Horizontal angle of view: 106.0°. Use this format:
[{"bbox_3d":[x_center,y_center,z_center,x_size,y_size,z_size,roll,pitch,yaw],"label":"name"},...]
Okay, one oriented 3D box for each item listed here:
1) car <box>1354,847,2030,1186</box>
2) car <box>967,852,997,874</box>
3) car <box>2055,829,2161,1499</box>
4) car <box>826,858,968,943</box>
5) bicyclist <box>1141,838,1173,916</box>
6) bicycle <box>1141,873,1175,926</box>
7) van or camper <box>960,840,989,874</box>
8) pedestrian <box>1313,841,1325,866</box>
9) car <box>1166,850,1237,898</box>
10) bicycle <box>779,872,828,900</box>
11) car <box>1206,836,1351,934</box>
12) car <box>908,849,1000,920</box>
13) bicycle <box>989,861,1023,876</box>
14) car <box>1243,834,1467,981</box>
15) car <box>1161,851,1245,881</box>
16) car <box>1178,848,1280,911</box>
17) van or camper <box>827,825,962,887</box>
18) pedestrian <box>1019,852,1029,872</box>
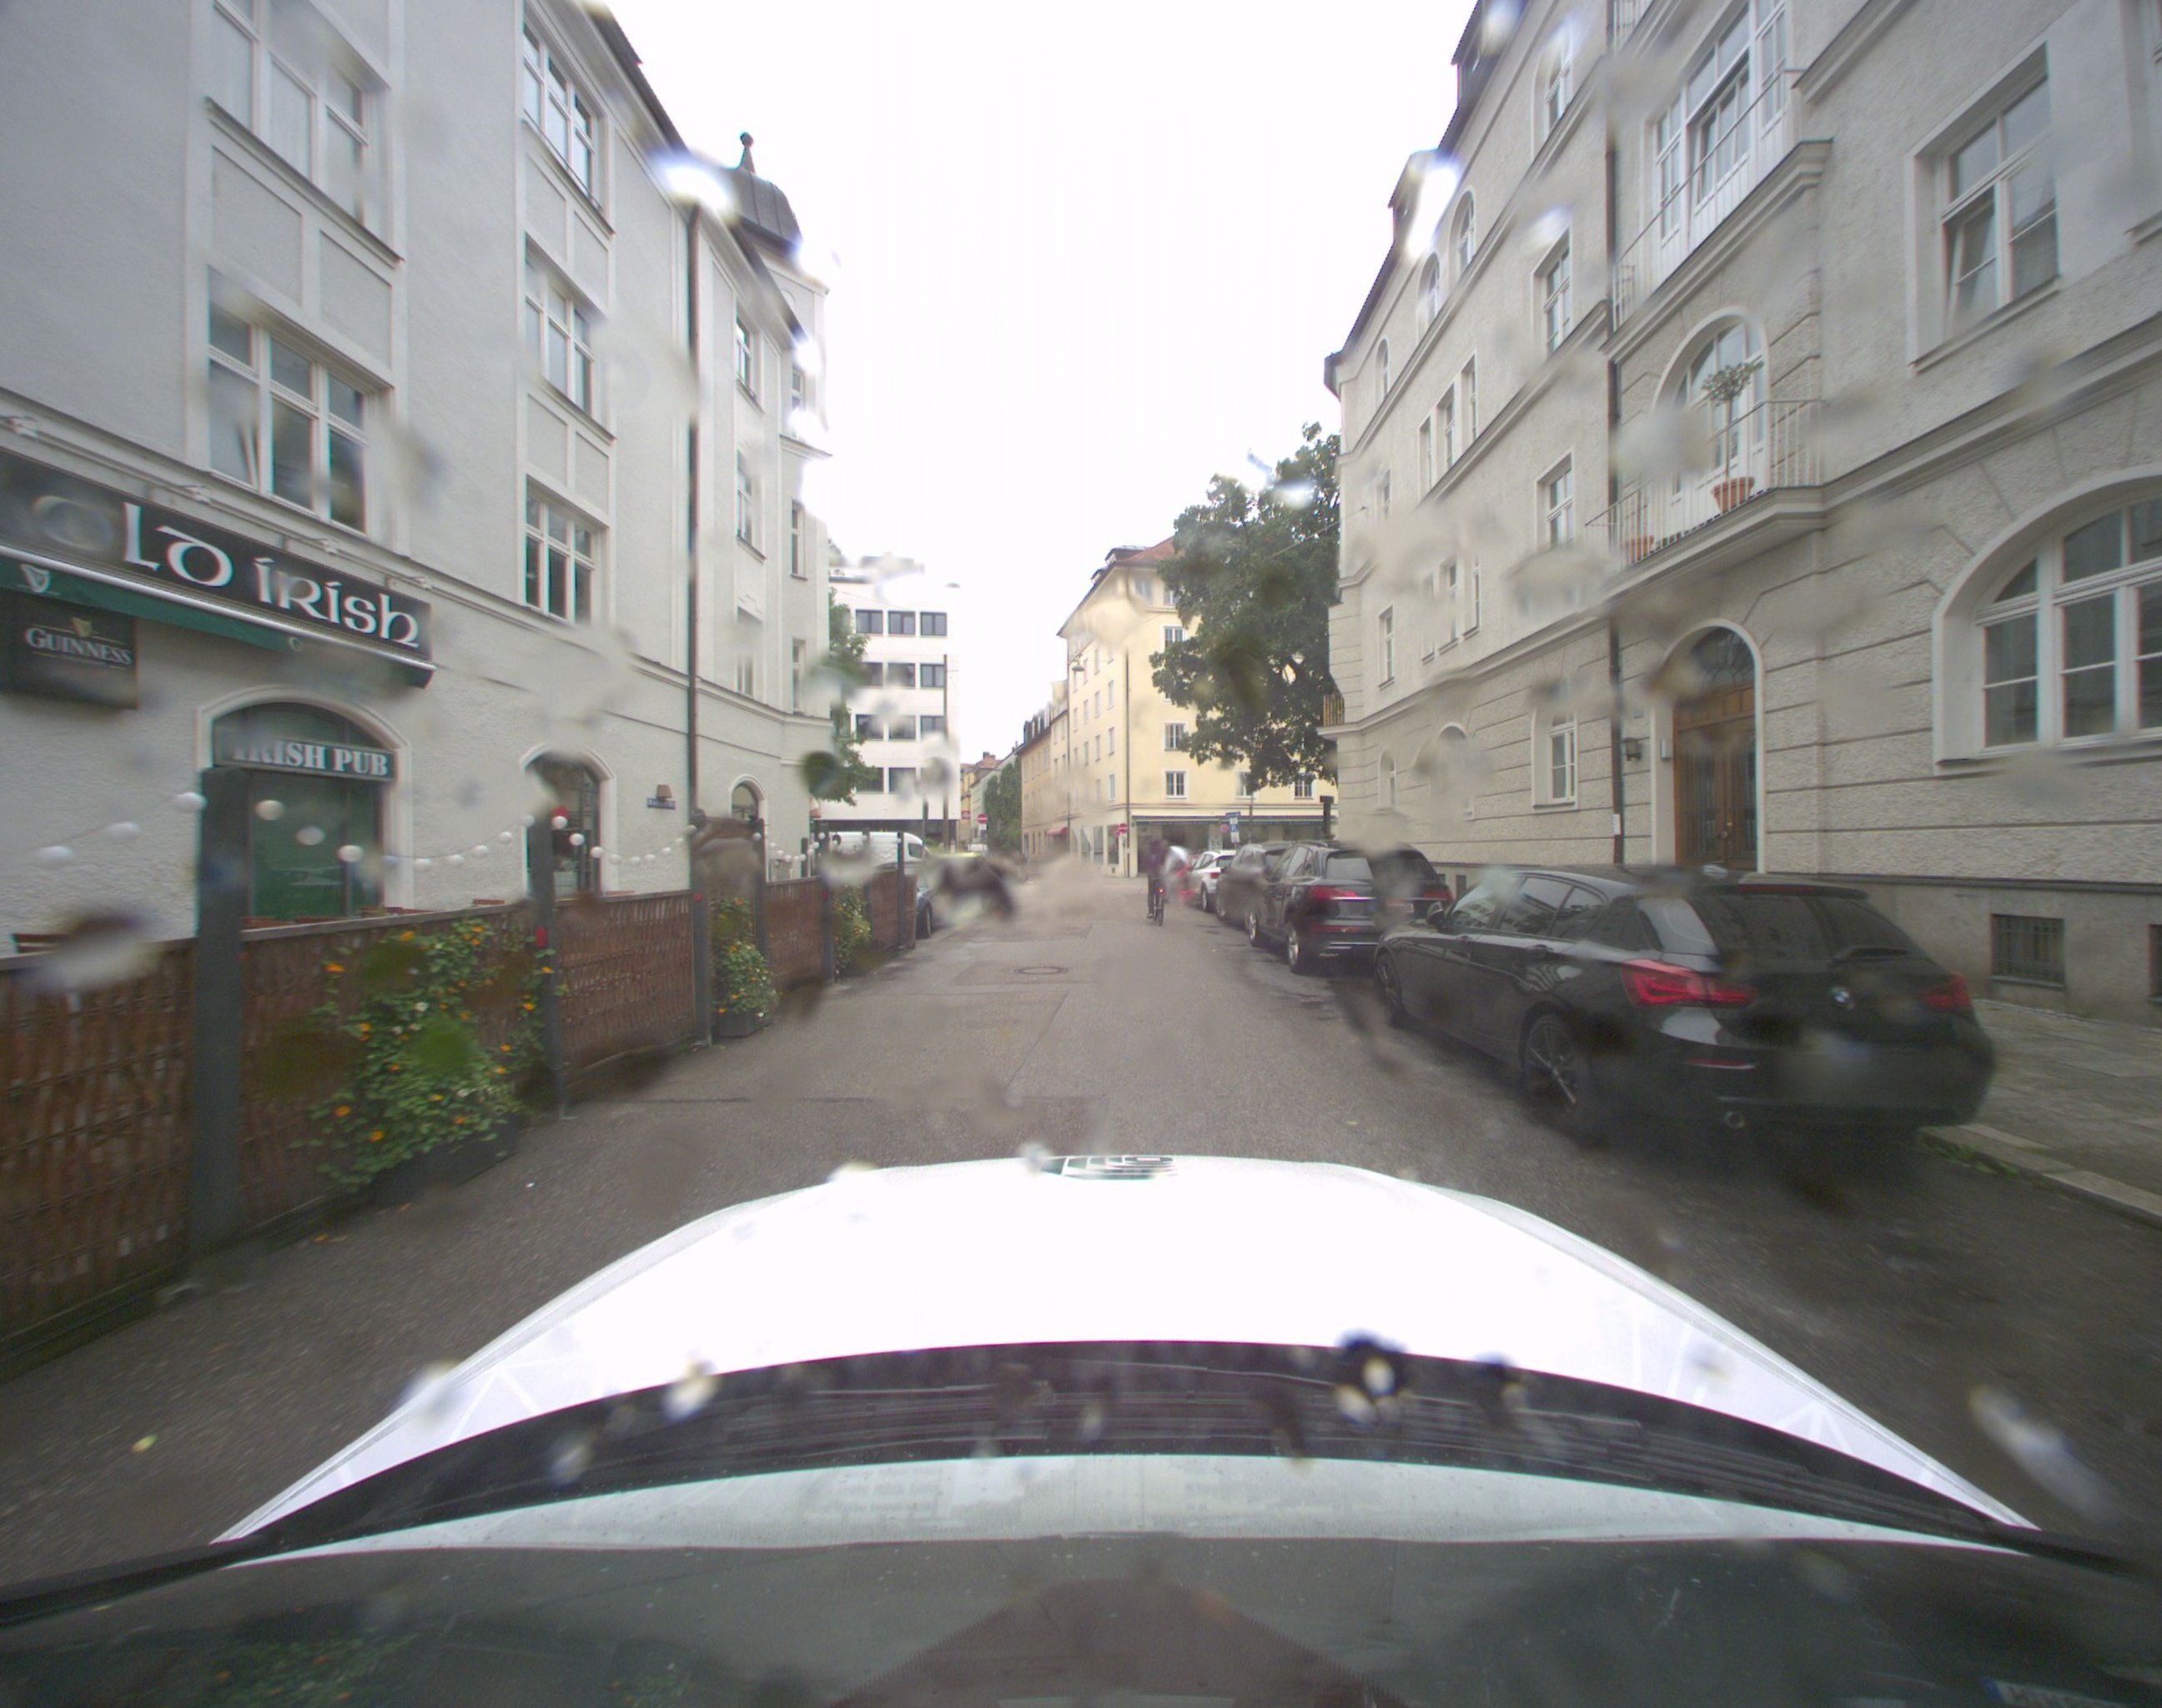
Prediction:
[{"bbox_3d":[3.381,0.700,5.680,1.700,1.471,4.204,-1,1,2],"label":"car"},{"bbox_3d":[-7.279,0.621,59.518,1.834,1.535,3.983,-1,0,-12],"label":"car"},{"bbox_3d":[3.297,0.721,0.257,1.650,1.525,3.636,0,1,-1],"label":"car"},{"bbox_3d":[-3.538,0.835,16.418,1.700,1.390,4.003,-3,0,3],"label":"car"},{"bbox_3d":[1.593,0.465,17.132,0.603,1.606,0.758,-1,1,3],"label":"bicyclist"},{"bbox_3d":[1.594,0.918,17.053,0.636,1.004,1.575,-1,0,3],"label":"bicycle"},{"bbox_3d":[-8.629,0.217,65.415,1.994,2.540,4.742,-1,0,-11],"label":"van or camper"},{"bbox_3d":[14.488,-0.030,49.515,0.435,1.551,0.530,-1,0,-28],"label":"pedestrian"},{"bbox_3d":[3.893,0.610,26.876,1.664,1.435,4.212,0,0,-1],"label":"car"},{"bbox_3d":[-9.930,1.139,29.123,1.567,0.947,0.891,0,-2,-27],"label":"bicycle"},{"bbox_3d":[3.841,0.535,16.661,1.784,1.713,4.424,-1,0,-1],"label":"car"},{"bbox_3d":[-3.241,0.728,21.436,1.671,1.597,3.945,-3,0,1],"label":"car"},{"bbox_3d":[-4.483,0.841,48.409,1.915,0.863,0.615,-1,0,-17],"label":"bicycle"},{"bbox_3d":[3.501,0.578,11.300,1.770,1.636,4.377,0,0,2],"label":"car"},{"bbox_3d":[6.092,0.610,40.984,3.973,1.416,1.820,-1,-3,0],"label":"car"},{"bbox_3d":[3.765,0.596,21.378,1.747,1.496,3.904,-1,0,-4],"label":"car"},{"bbox_3d":[-8.495,0.103,37.611,5.903,2.677,1.867,-1,-2,-9],"label":"van or camper"},{"bbox_3d":[-5.359,0.755,76.480,0.878,1.778,0.770,-1,0,-12],"label":"pedestrian"}]
